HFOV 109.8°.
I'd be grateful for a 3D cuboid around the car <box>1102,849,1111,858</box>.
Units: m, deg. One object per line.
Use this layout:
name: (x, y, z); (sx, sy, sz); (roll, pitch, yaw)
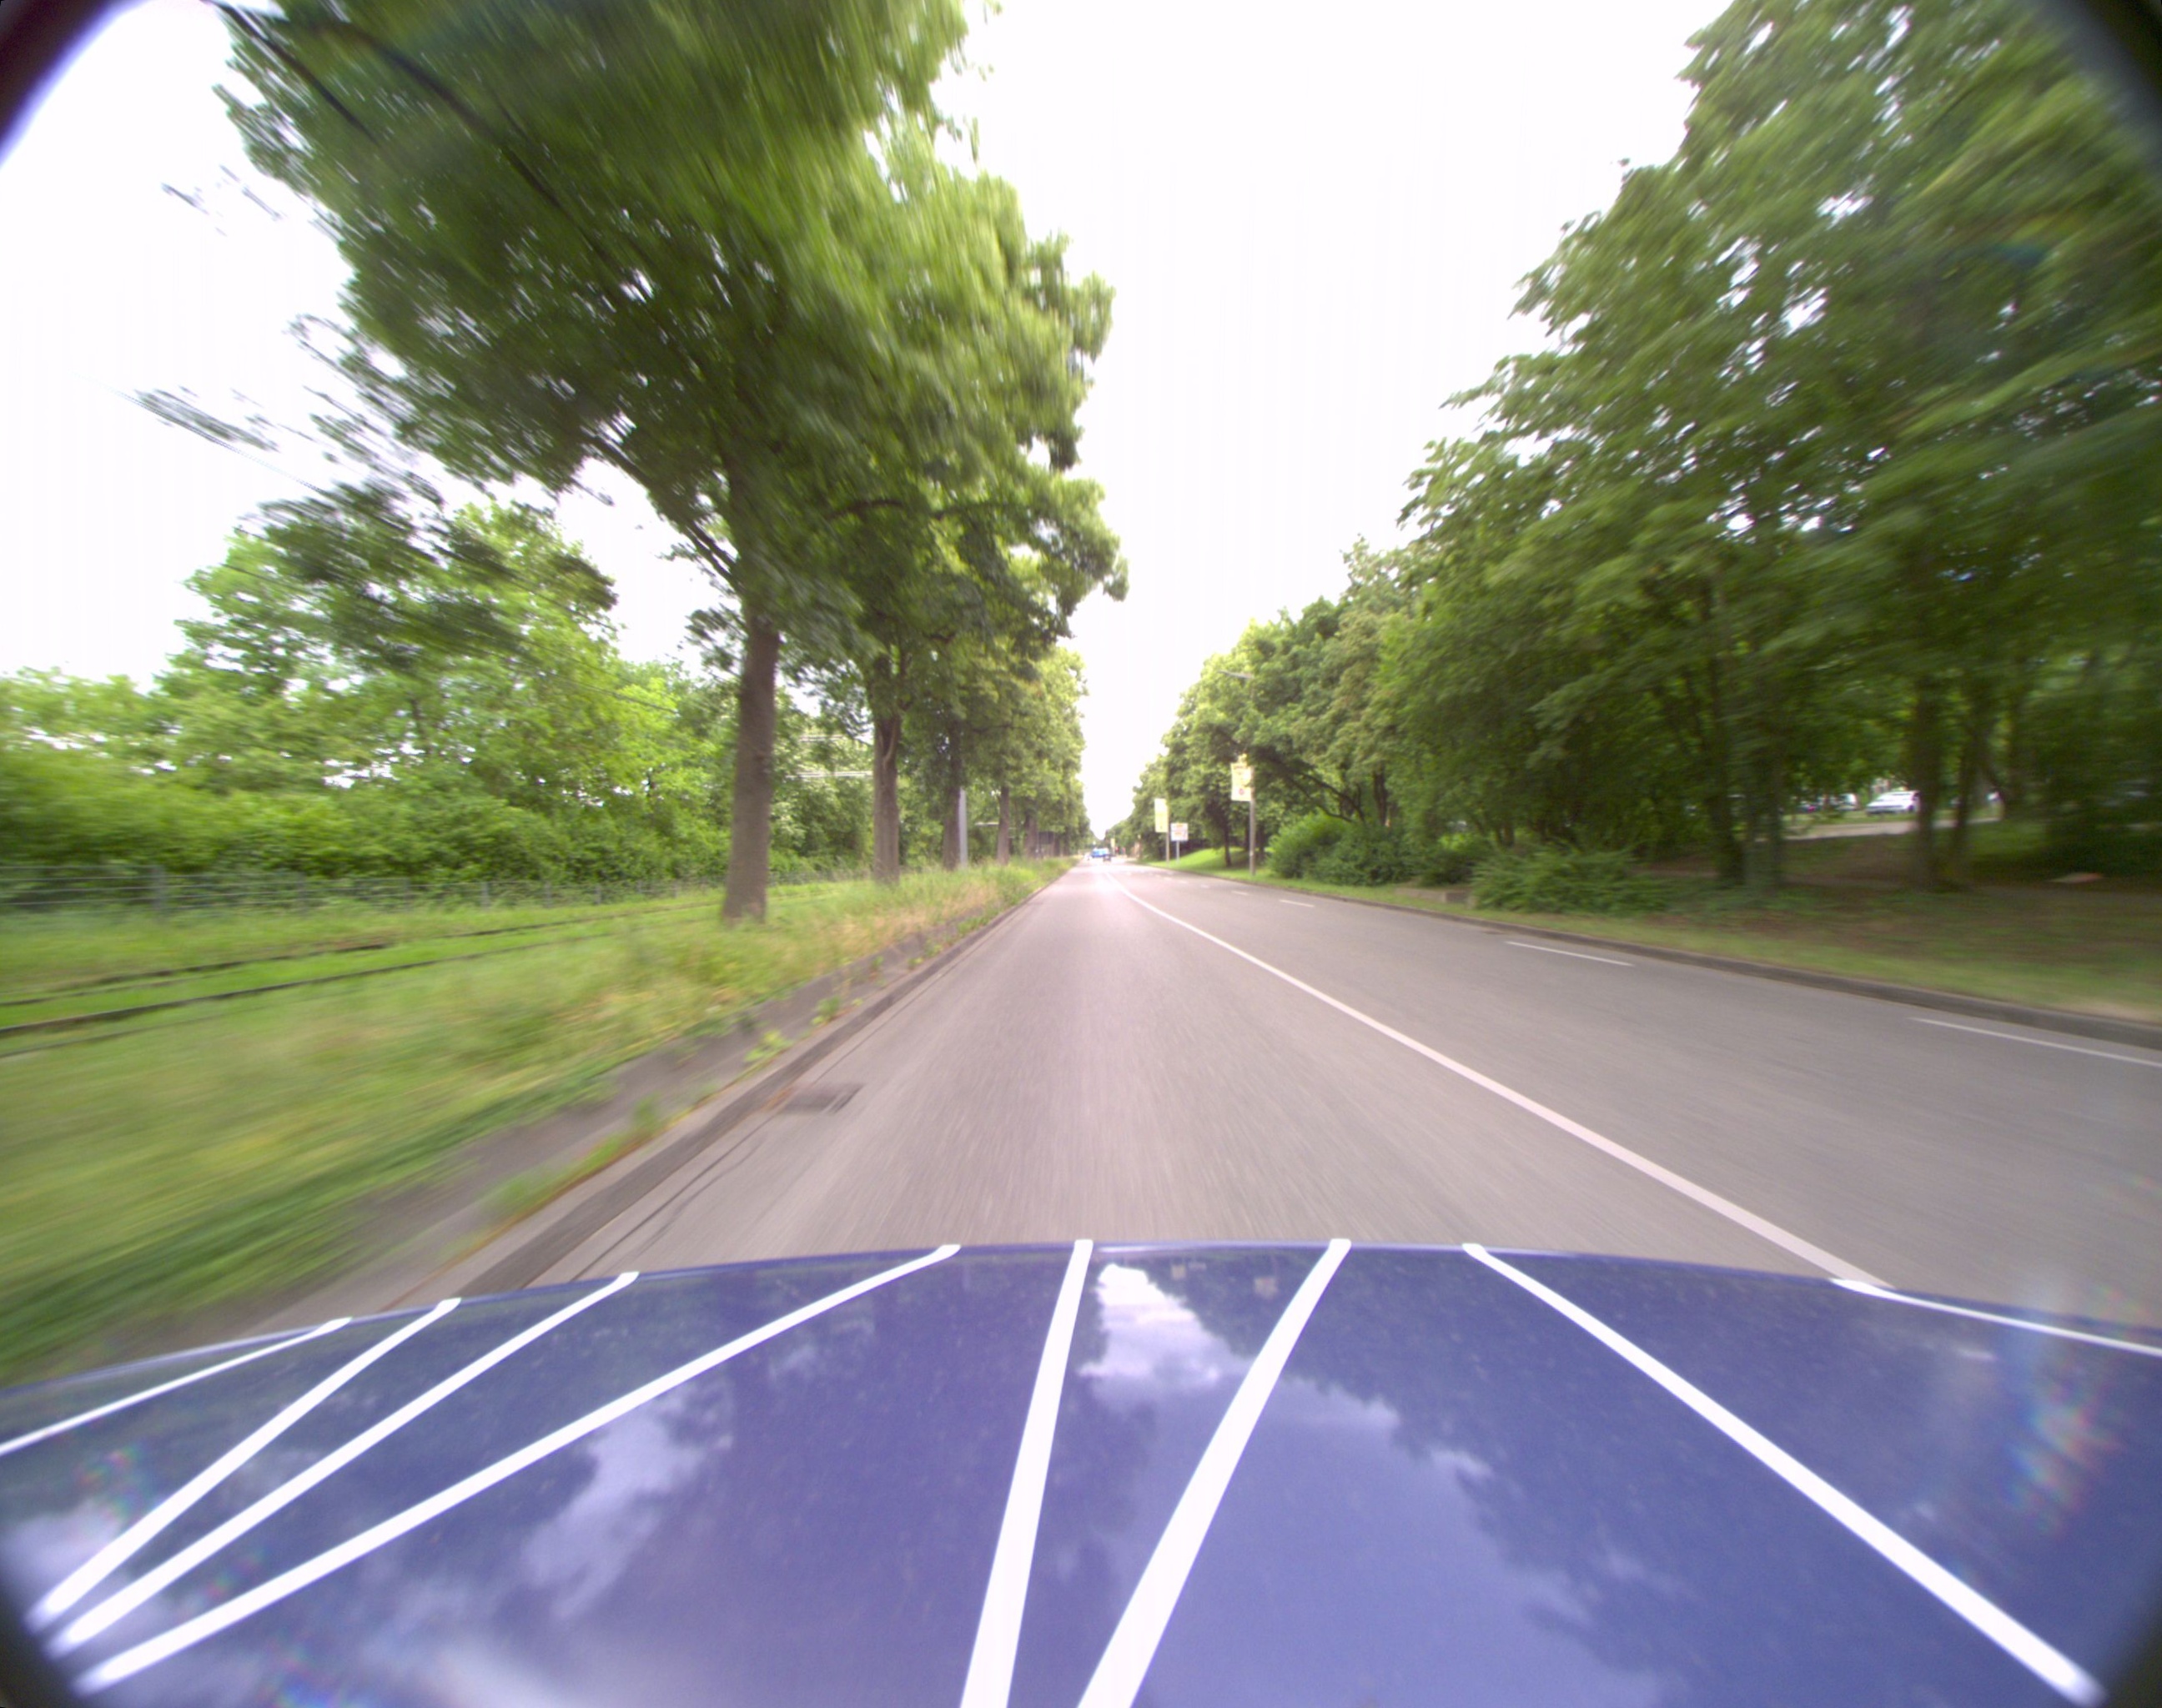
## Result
car: (5.732, -0.052, 169.735); (1.998, 1.944, 5.183); (-1, 1, 1)
